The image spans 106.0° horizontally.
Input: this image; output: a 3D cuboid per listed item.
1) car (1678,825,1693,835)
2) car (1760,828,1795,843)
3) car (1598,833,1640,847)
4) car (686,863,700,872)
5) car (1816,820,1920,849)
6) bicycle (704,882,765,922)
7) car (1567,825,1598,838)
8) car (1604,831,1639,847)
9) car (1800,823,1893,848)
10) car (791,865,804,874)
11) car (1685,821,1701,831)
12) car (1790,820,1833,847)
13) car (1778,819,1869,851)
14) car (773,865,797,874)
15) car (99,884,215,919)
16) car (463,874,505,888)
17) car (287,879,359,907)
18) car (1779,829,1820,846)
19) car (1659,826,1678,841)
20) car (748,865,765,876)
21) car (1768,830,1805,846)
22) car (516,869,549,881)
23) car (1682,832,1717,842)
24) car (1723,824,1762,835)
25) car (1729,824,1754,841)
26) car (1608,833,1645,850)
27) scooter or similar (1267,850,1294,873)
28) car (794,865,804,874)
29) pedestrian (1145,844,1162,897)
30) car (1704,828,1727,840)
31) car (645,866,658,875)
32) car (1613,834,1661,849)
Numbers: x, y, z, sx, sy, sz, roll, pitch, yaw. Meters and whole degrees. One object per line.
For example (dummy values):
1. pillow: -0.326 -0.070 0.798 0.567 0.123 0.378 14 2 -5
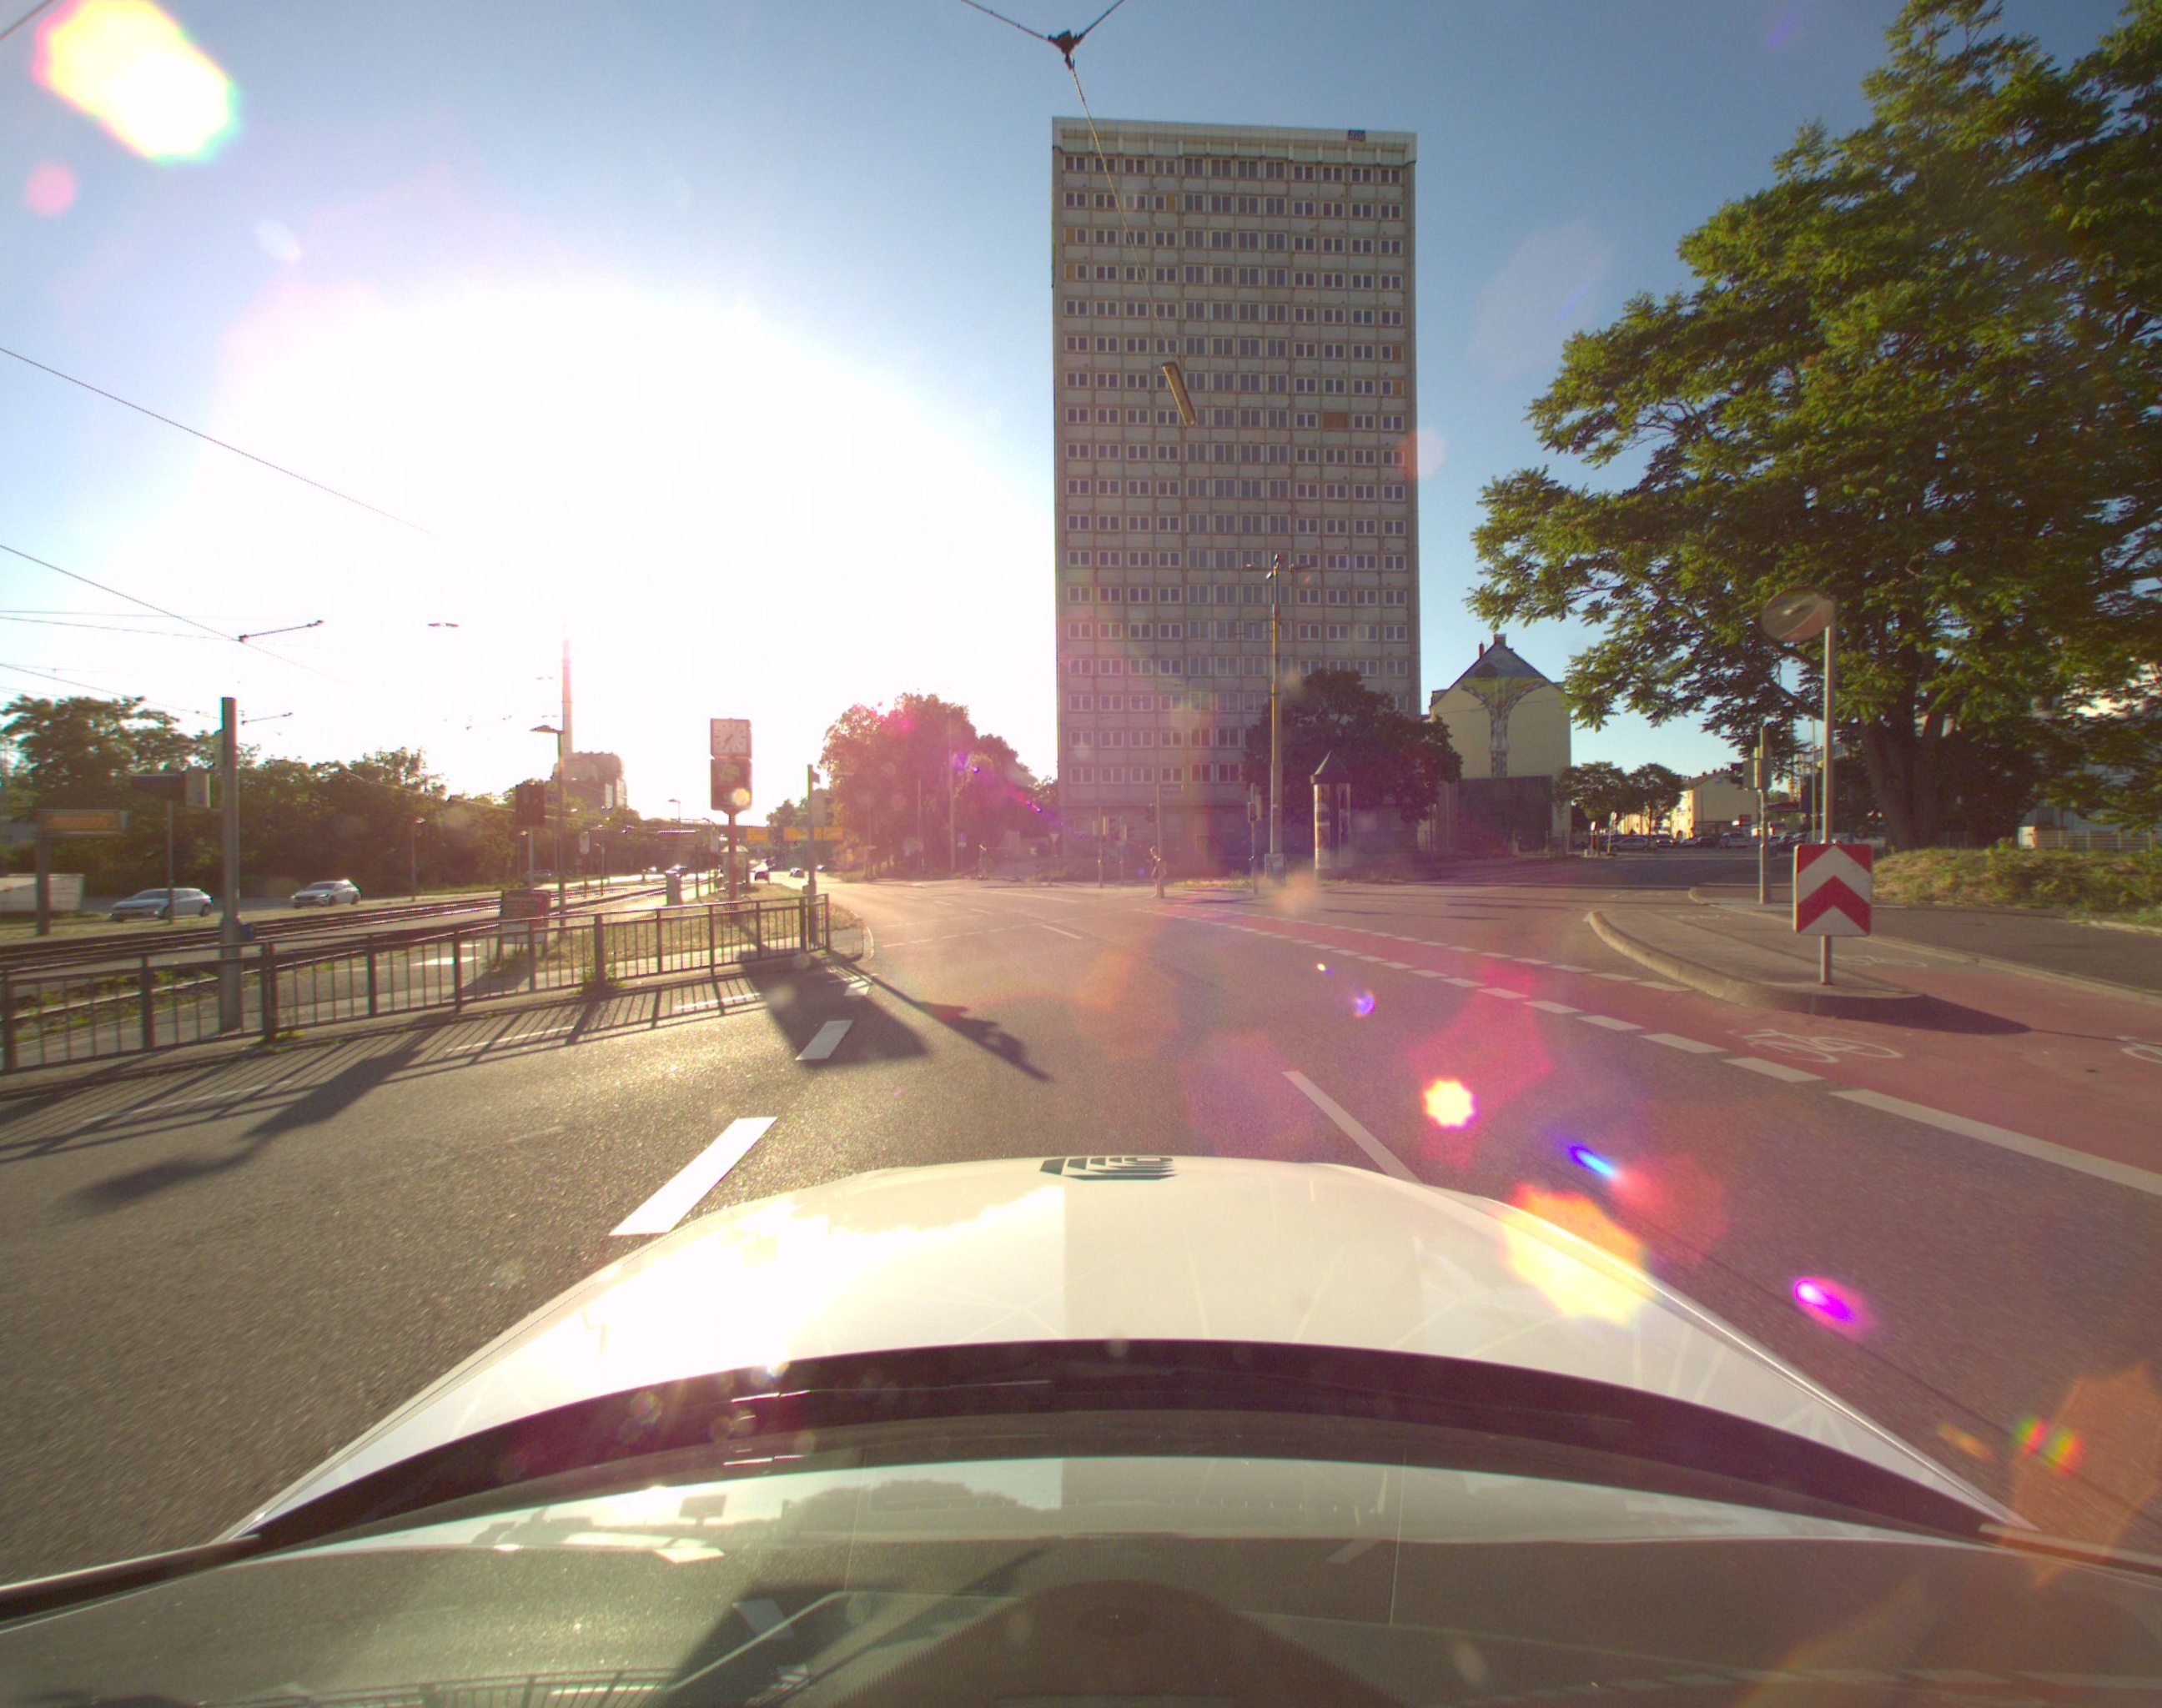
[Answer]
1. car: 103.395 -4.130 139.404 1.841 1.543 4.026 -2 0 34
2. car: 67.370 -1.787 78.798 1.809 1.385 4.025 0 1 29
3. car: 57.267 -1.445 86.717 3.513 1.350 1.718 -2 0 28
4. car: -87.932 3.081 184.587 1.997 2.013 4.838 -2 0 -15
5. car: 47.363 -1.174 49.094 4.184 1.563 1.785 -2 0 12
6. bicycle: -9.237 1.262 21.770 0.550 0.918 1.748 -3 0 11
7. car: 78.503 -3.463 127.516 3.948 1.903 1.877 -2 0 33
8. car: 55.757 -1.518 84.059 2.992 1.537 1.275 -2 0 34
9. car: 48.945 -1.181 52.168 3.965 1.426 1.907 -2 0 7
10. car: -49.408 2.653 141.980 2.045 1.446 3.972 -2 0 -21
11. car: 95.895 -4.405 127.653 1.841 1.543 3.904 -2 0 34
12. car: 58.061 -1.591 64.808 1.974 2.013 4.026 -2 0 35
13. car: 50.474 -1.259 55.425 4.189 2.013 2.004 -2 0 7
14. car: -70.241 3.571 193.364 4.835 2.013 1.998 -1 1 -3
15. car: -42.639 2.147 37.705 1.807 1.367 3.940 -1 0 -19
16. car: -92.211 4.194 125.840 1.975 1.843 4.819 -2 0 43
17. car: -46.855 2.393 50.459 1.661 1.532 4.362 -2 0 -20
18. car: 61.437 -1.419 69.714 1.894 1.385 4.001 0 1 31
19. car: 77.367 -2.726 107.210 1.841 1.903 4.026 -2 0 37
20. car: -46.065 2.334 115.555 2.045 1.446 3.972 -2 0 -20
21. car: 64.195 -1.488 74.137 1.865 1.385 4.025 0 1 31
22. car: -87.910 3.428 130.526 1.975 1.750 4.024 -2 0 43
23. car: 92.148 -2.539 121.408 4.009 1.458 1.891 -2 0 31
24. car: 93.993 -3.443 115.802 4.008 1.458 1.891 -2 0 31
25. car: 76.268 -2.496 94.115 1.841 1.903 4.026 -2 0 34
26. car: 54.622 -1.238 81.598 2.992 1.537 1.521 -2 0 34
27. scooter or similar: 10.393 0.373 42.483 1.293 1.170 0.326 -2 0 -1
28. car: -46.851 2.601 135.407 1.520 1.387 3.341 -1 1 -19
29. pedestrian: 2.298 0.514 25.722 0.433 1.612 0.631 -2 0 8
30. car: 85.947 -2.671 110.407 1.910 1.543 4.025 -2 0 30
31. car: -97.055 3.674 184.046 2.000 2.013 3.974 -2 0 -19
32. car: 54.266 -1.203 79.558 3.666 1.301 1.521 -1 0 29
